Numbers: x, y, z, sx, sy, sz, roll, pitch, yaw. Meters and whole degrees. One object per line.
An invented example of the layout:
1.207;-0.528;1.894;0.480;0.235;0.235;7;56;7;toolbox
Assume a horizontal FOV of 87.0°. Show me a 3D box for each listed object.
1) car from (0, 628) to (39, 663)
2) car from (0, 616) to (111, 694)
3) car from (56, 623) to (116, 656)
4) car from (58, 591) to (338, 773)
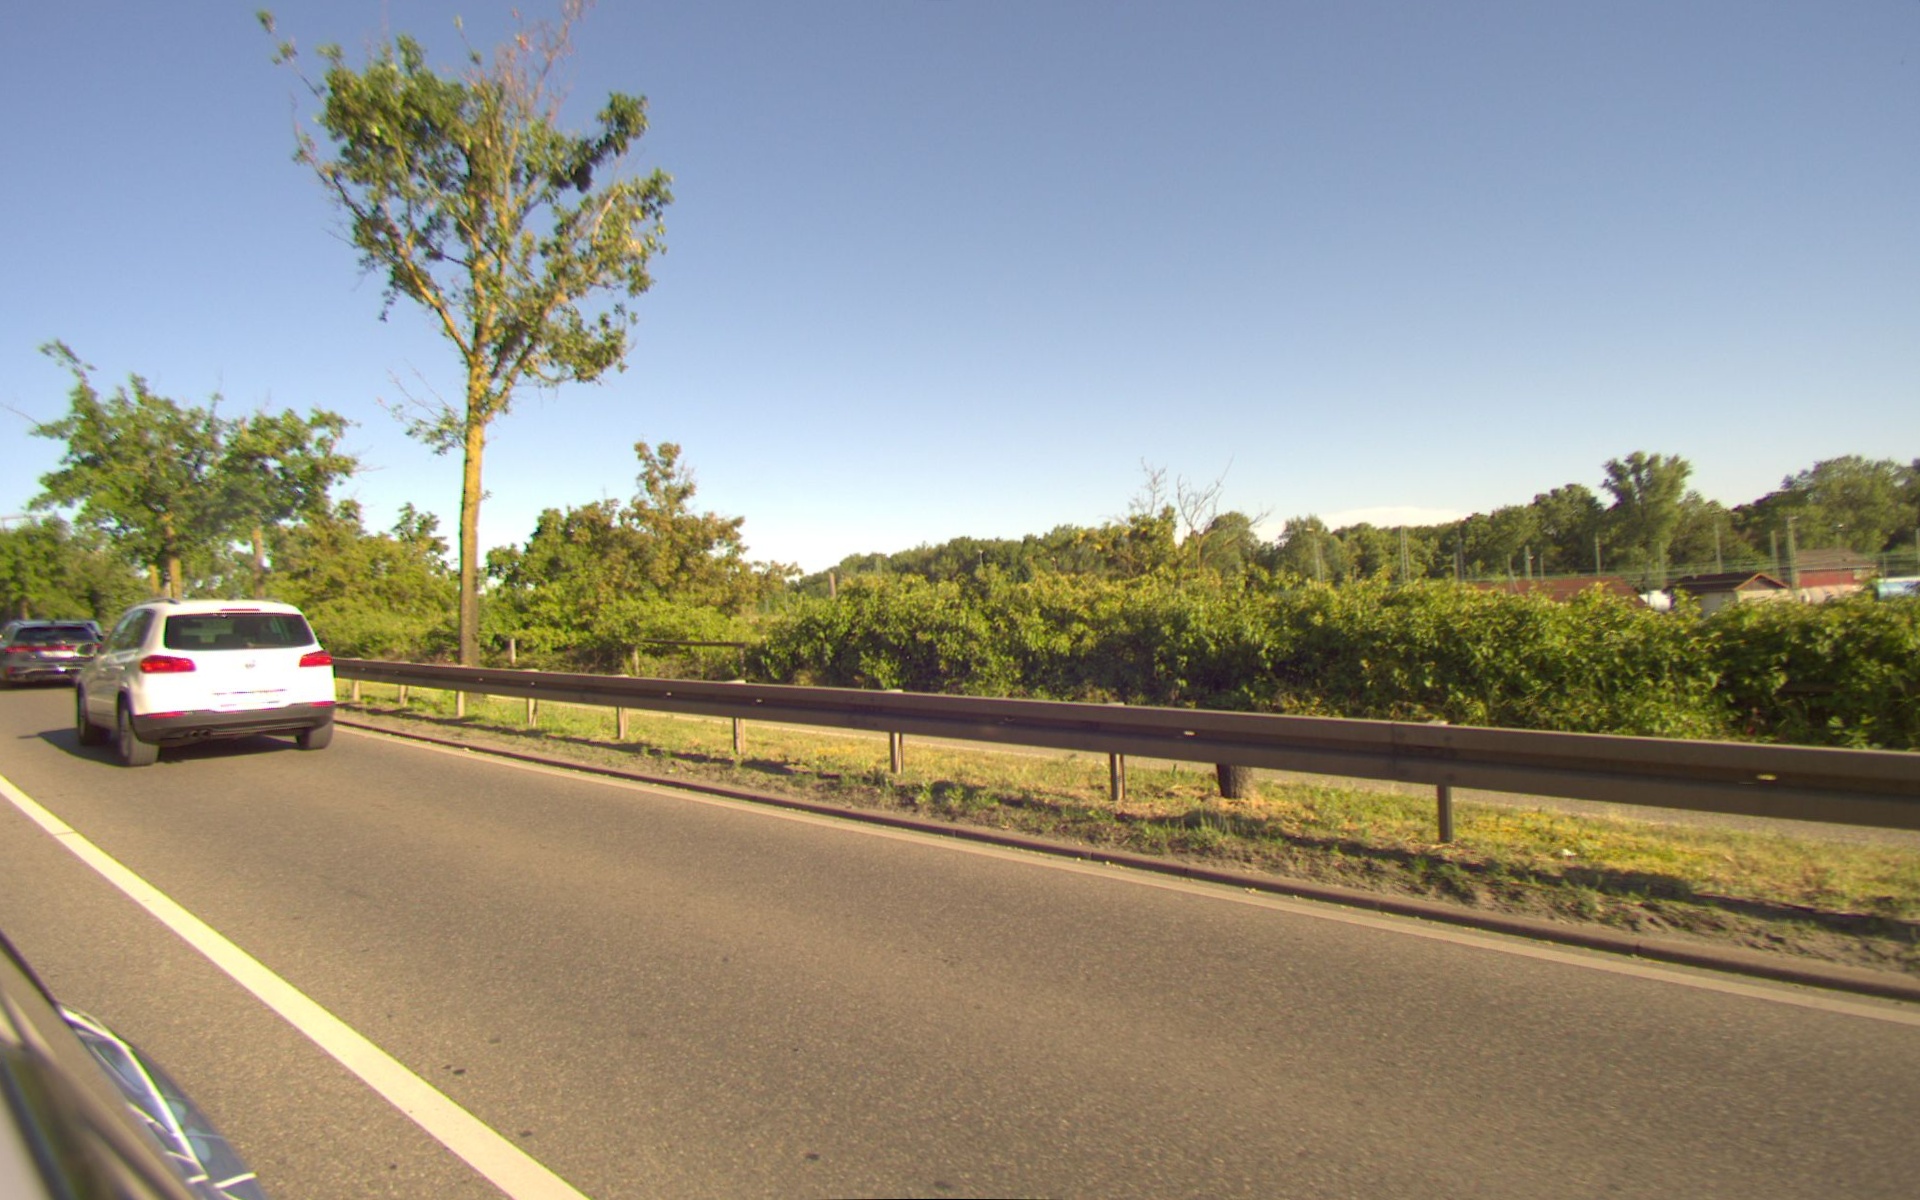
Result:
-48.749;2.323;52.242;1.658;1.717;3.610;-1;-1;-41;car
-20.159;1.147;22.239;4.718;1.503;1.829;-2;-1;44;car
-42.958;1.936;49.813;1.785;1.566;4.150;2;-2;-35;car
-8.566;0.785;11.248;3.980;1.670;1.711;-2;-1;41;car
